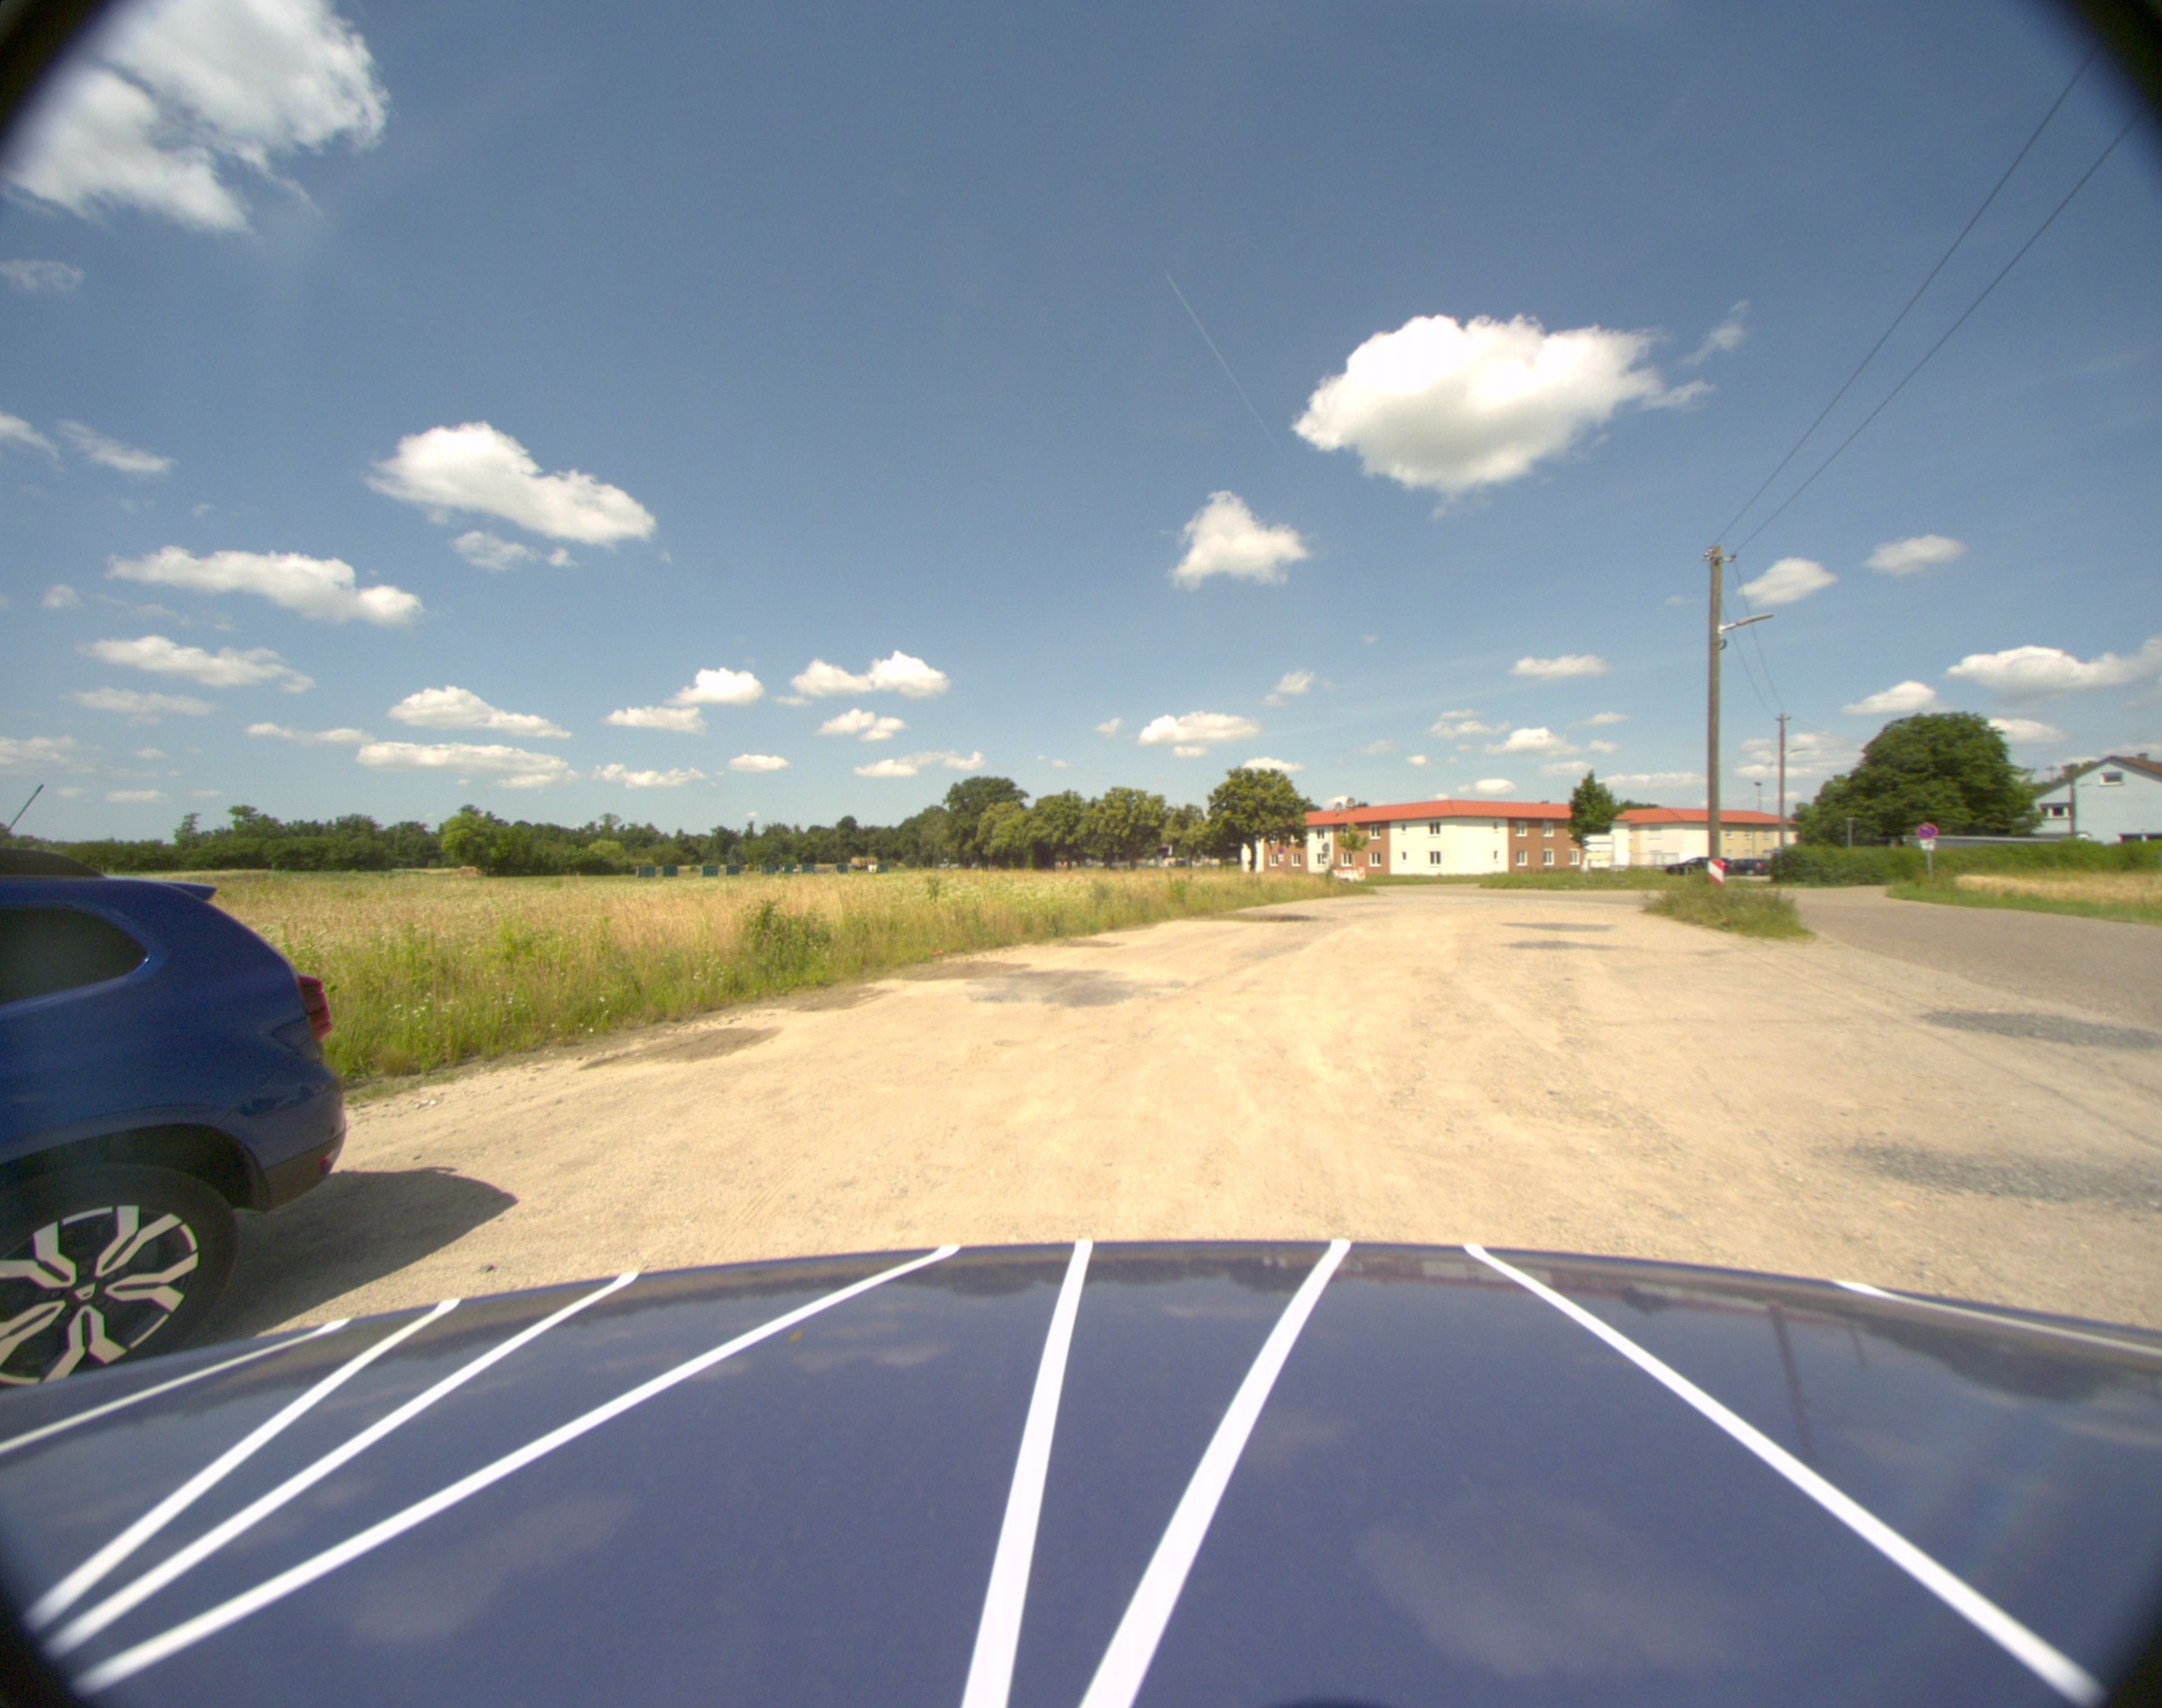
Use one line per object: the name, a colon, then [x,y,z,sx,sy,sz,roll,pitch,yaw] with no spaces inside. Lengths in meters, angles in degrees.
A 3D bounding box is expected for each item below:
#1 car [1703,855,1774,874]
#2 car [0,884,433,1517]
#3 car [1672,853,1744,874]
car: [55.506,0.875,64.218,2.003,1.605,4.140,0,0,-26]
car: [-4.208,0.996,1.194,1.860,1.651,4.464,-2,0,20]
car: [51.810,0.768,62.823,2.003,1.605,4.140,0,0,-26]
